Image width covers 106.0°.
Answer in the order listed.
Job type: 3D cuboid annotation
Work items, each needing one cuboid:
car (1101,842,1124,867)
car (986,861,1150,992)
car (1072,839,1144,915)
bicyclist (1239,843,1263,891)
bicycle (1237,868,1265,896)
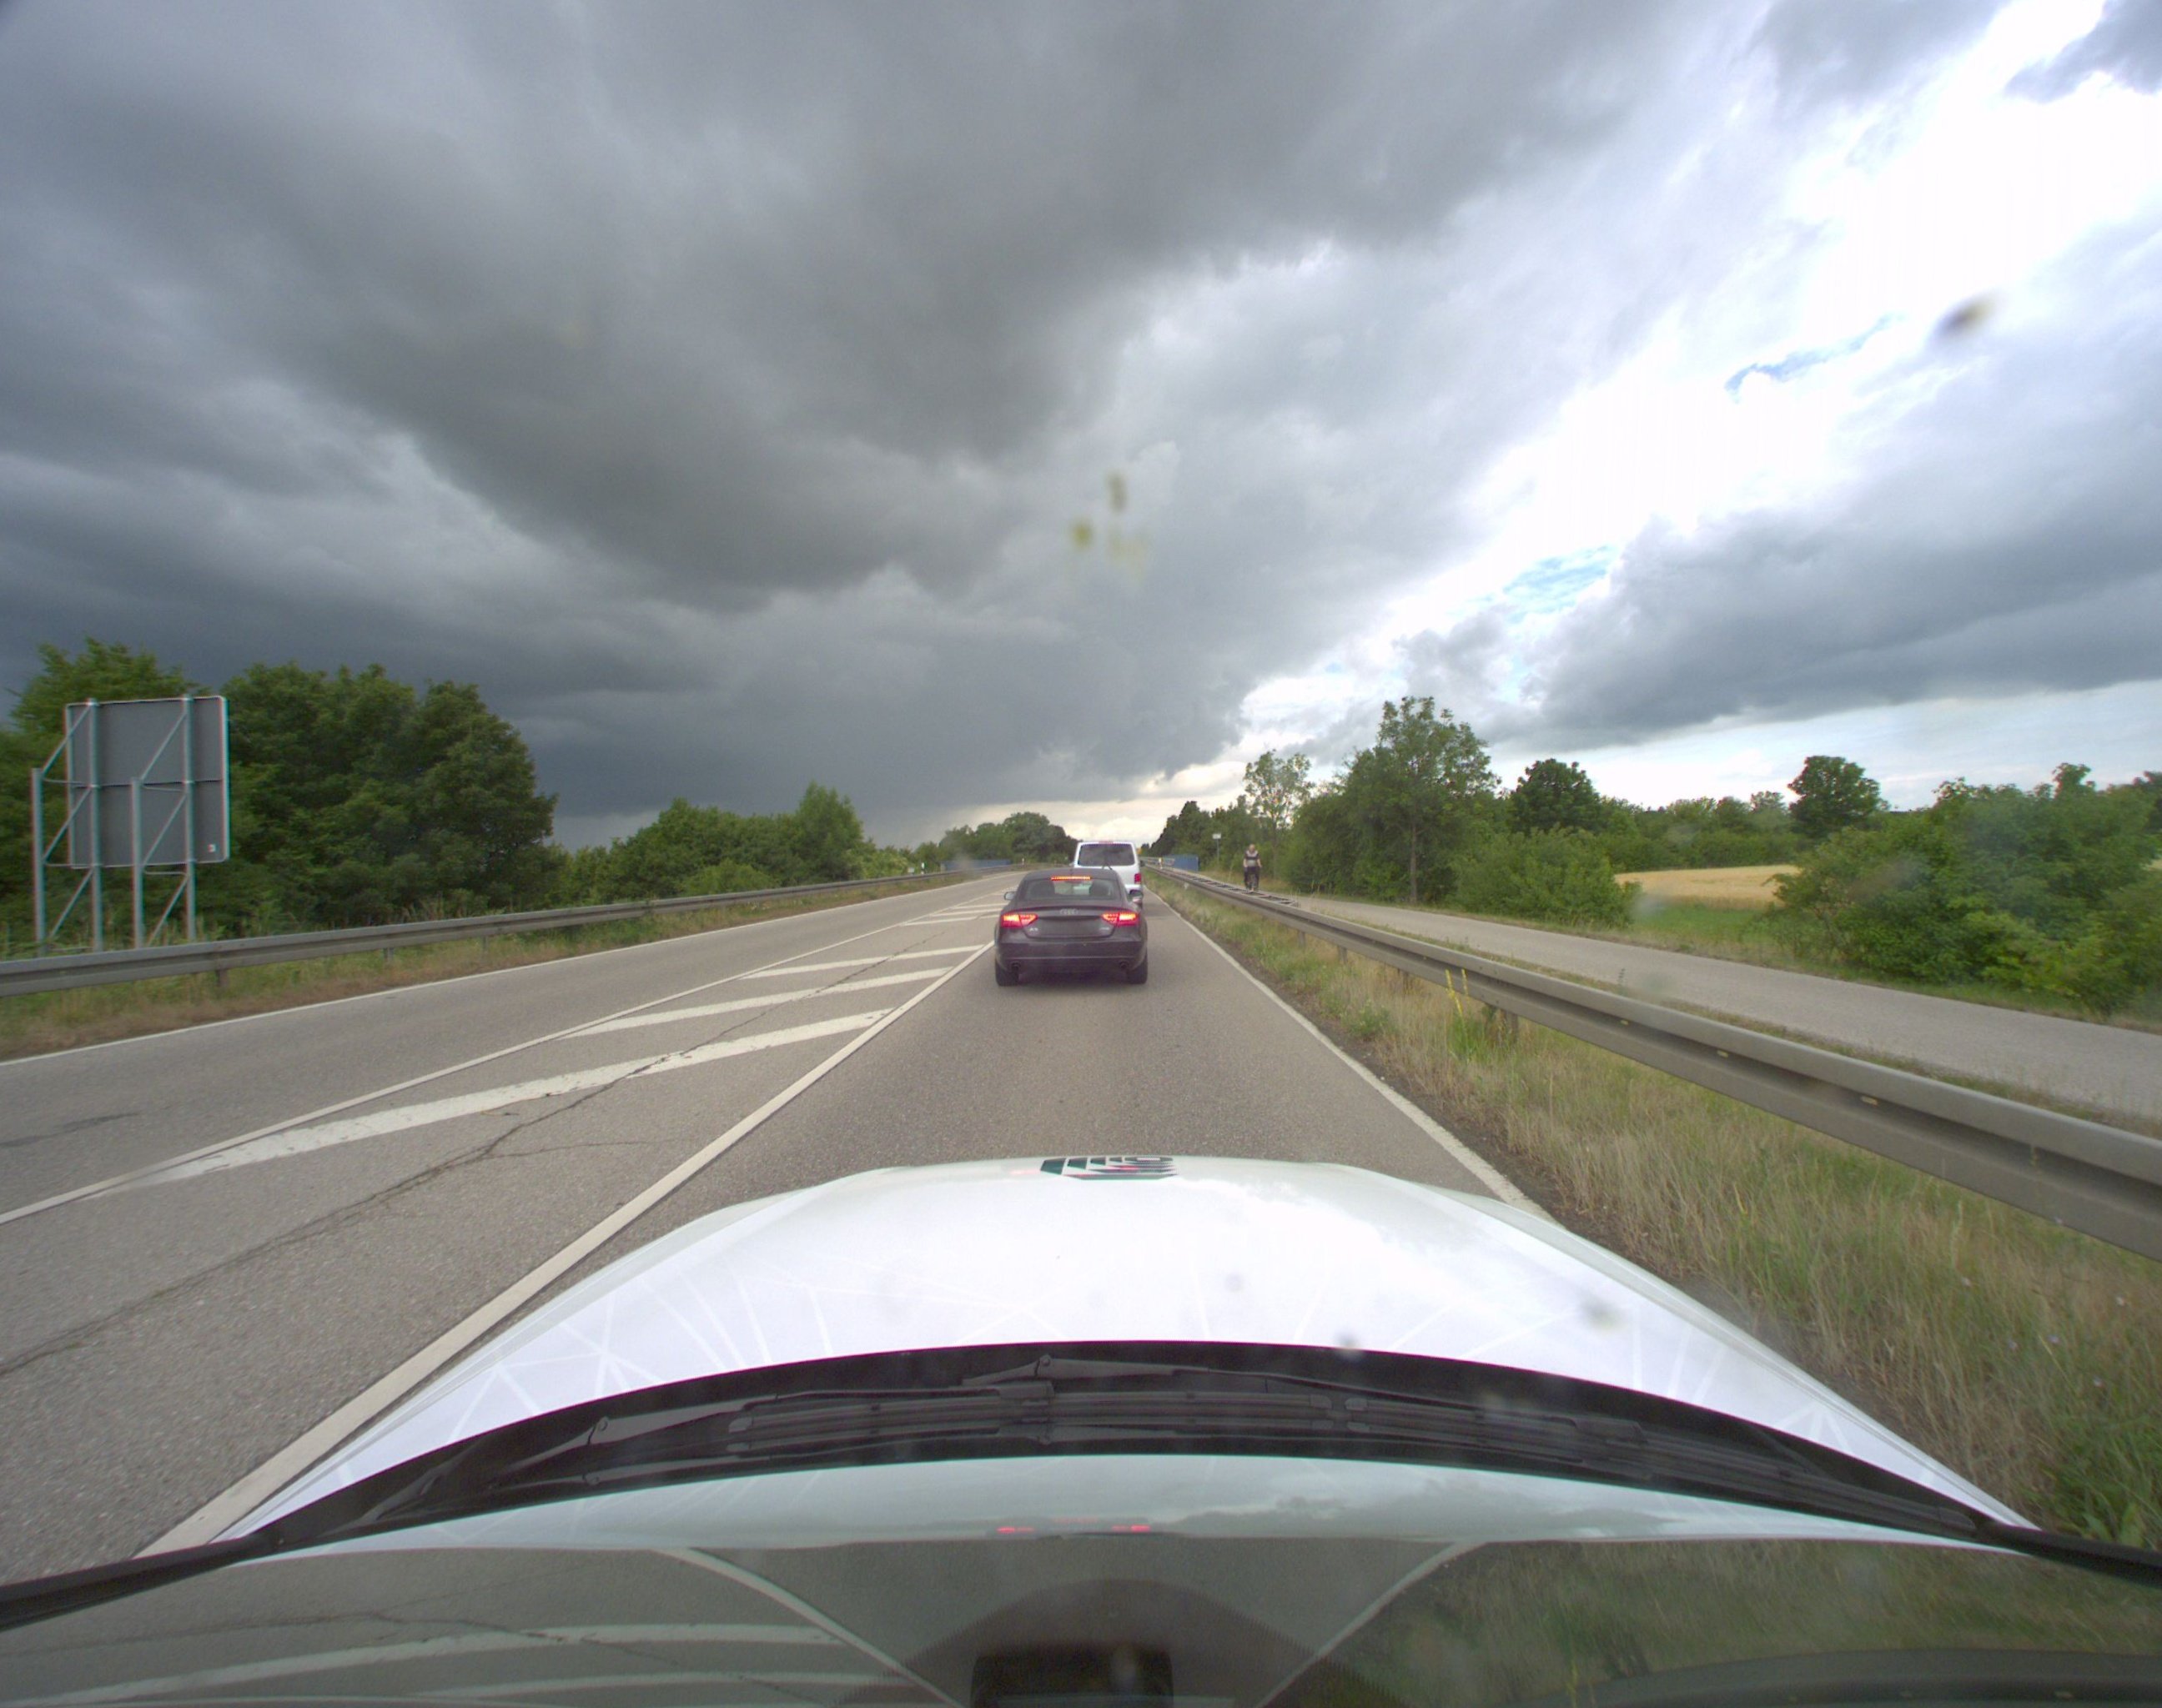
[{"bbox_3d":[3.396,0.057,87.546,2.438,2.504,5.044,-1,0,2],"label":"car"},{"bbox_3d":[-0.073,0.817,10.894,1.779,1.424,4.001,-1,-1,2],"label":"car"},{"bbox_3d":[0.741,0.599,22.311,1.779,1.890,4.001,-1,-1,2],"label":"car"},{"bbox_3d":[6.072,0.463,29.077,0.644,1.645,0.866,-2,-1,2],"label":"bicyclist"},{"bbox_3d":[6.085,0.990,29.195,0.663,0.920,1.831,-2,-1,2],"label":"bicycle"}]
